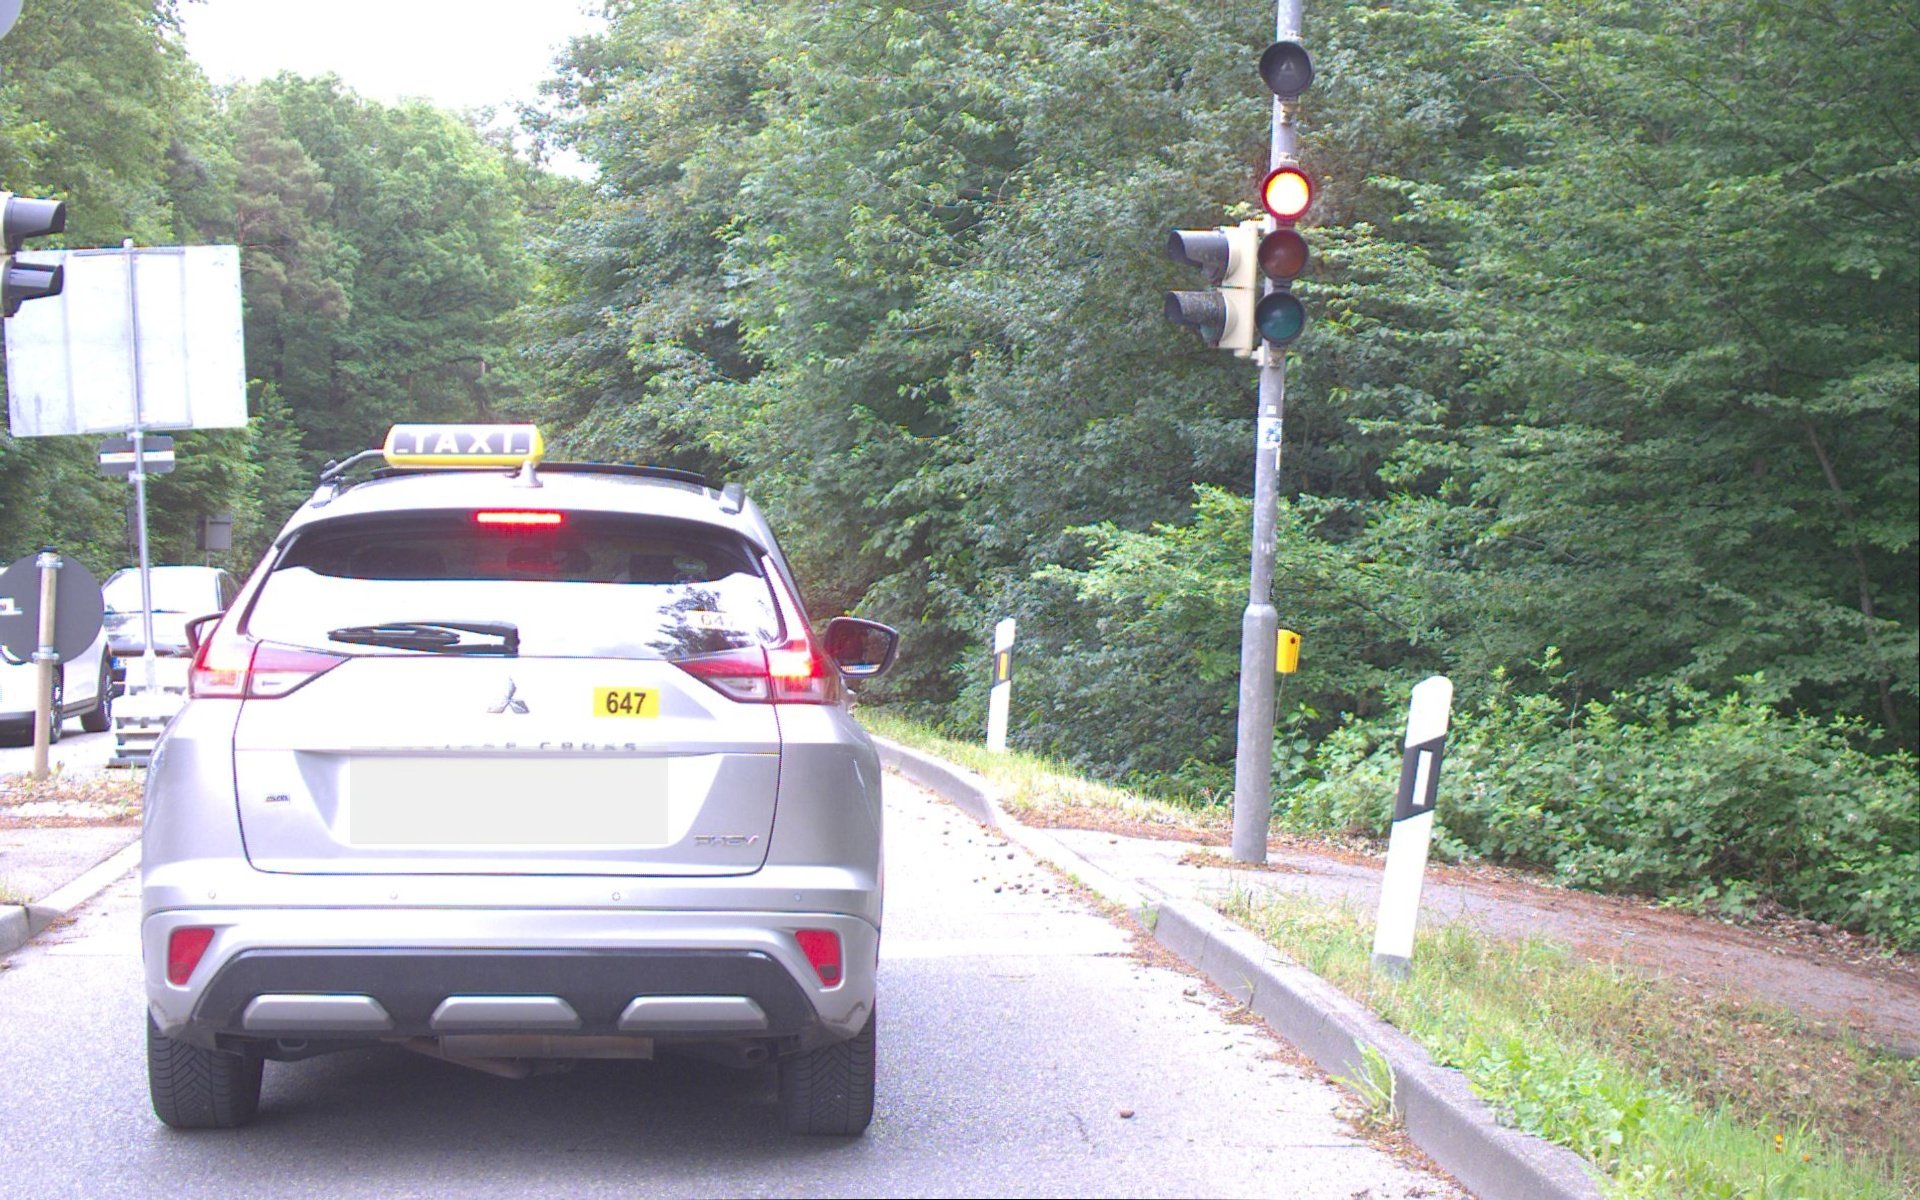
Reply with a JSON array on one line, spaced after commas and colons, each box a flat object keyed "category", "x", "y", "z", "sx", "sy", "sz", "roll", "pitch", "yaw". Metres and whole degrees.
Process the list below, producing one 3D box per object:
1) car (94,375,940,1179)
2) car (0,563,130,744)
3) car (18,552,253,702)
[{"category": "car", "x": -1.171, "y": 0.351, "z": 9.671, "sx": 1.846, "sy": 1.774, "sz": 4.001, "roll": 1, "pitch": 1, "yaw": -5}, {"category": "car", "x": -7.943, "y": 0.406, "z": 27.983, "sx": 1.612, "sy": 1.317, "sz": 3.722, "roll": -2, "pitch": 2, "yaw": -3}, {"category": "car", "x": -8.932, "y": 0.263, "z": 37.534, "sx": 1.811, "sy": 1.503, "sz": 3.722, "roll": -2, "pitch": 1, "yaw": -3}]
